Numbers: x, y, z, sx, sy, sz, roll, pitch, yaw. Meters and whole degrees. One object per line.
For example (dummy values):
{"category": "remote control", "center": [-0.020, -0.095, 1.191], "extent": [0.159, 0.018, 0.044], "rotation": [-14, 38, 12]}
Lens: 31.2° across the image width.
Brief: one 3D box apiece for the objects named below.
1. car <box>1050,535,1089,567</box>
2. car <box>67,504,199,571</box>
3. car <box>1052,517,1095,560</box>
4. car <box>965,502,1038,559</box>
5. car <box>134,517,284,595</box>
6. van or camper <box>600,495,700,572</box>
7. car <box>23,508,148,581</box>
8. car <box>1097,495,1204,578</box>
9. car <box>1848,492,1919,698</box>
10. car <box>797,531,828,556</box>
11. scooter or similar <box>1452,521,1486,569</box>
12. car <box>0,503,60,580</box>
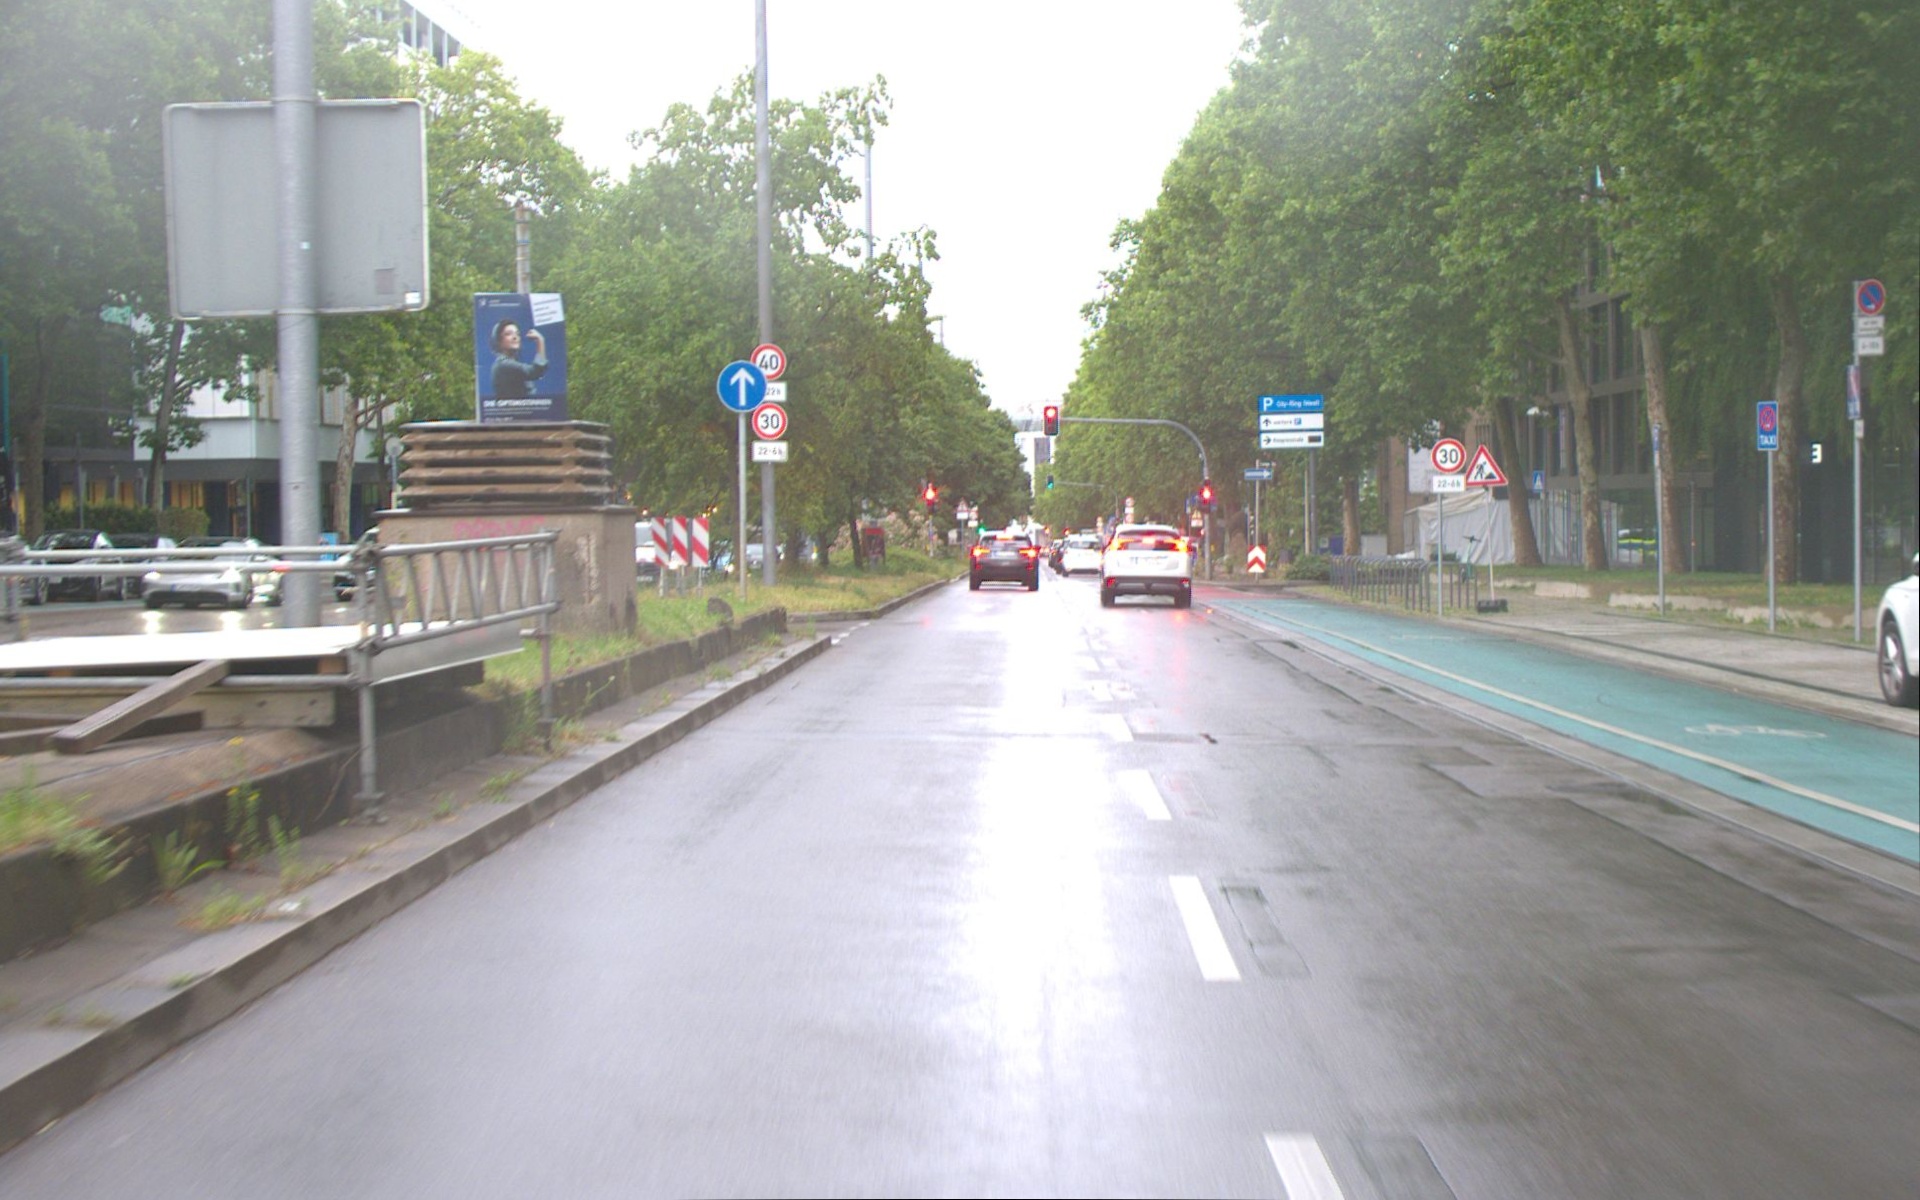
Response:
{"category": "car", "center": [4.766, -2.145, 149.403], "extent": [1.620, 1.369, 4.000], "rotation": [0, 1, 1]}
{"category": "car", "center": [-18.316, -1.413, 76.355], "extent": [1.693, 1.404, 4.905], "rotation": [0, 2, 1]}
{"category": "car", "center": [4.513, -2.459, 137.230], "extent": [1.620, 1.660, 4.000], "rotation": [-1, 1, 1]}
{"category": "car", "center": [1.109, -1.880, 92.087], "extent": [1.918, 1.486, 4.000], "rotation": [0, 2, 1]}
{"category": "car", "center": [-14.428, -0.875, 66.284], "extent": [1.966, 1.404, 4.958], "rotation": [0, 2, -2]}
{"category": "van or camper", "center": [-7.875, -1.724, 87.727], "extent": [1.993, 1.907, 5.251], "rotation": [0, 2, 1]}
{"category": "car", "center": [-18.243, -1.175, 71.844], "extent": [1.693, 1.463, 3.460], "rotation": [0, 2, 1]}
{"category": "car", "center": [3.889, -1.336, 70.996], "extent": [1.993, 1.649, 4.889], "rotation": [0, 2, 1]}
{"category": "car", "center": [8.503, -0.030, 27.012], "extent": [1.843, 1.627, 4.787], "rotation": [0, 2, 1]}
{"category": "car", "center": [-8.766, -3.361, 204.672], "extent": [1.614, 1.389, 3.598], "rotation": [0, 2, 1]}
{"category": "scooter or similar", "center": [13.165, -1.434, 88.884], "extent": [0.381, 1.224, 1.077], "rotation": [1, 2, 37]}
{"category": "car", "center": [-18.531, -1.139, 65.229], "extent": [1.693, 1.404, 4.456], "rotation": [0, 2, 1]}
